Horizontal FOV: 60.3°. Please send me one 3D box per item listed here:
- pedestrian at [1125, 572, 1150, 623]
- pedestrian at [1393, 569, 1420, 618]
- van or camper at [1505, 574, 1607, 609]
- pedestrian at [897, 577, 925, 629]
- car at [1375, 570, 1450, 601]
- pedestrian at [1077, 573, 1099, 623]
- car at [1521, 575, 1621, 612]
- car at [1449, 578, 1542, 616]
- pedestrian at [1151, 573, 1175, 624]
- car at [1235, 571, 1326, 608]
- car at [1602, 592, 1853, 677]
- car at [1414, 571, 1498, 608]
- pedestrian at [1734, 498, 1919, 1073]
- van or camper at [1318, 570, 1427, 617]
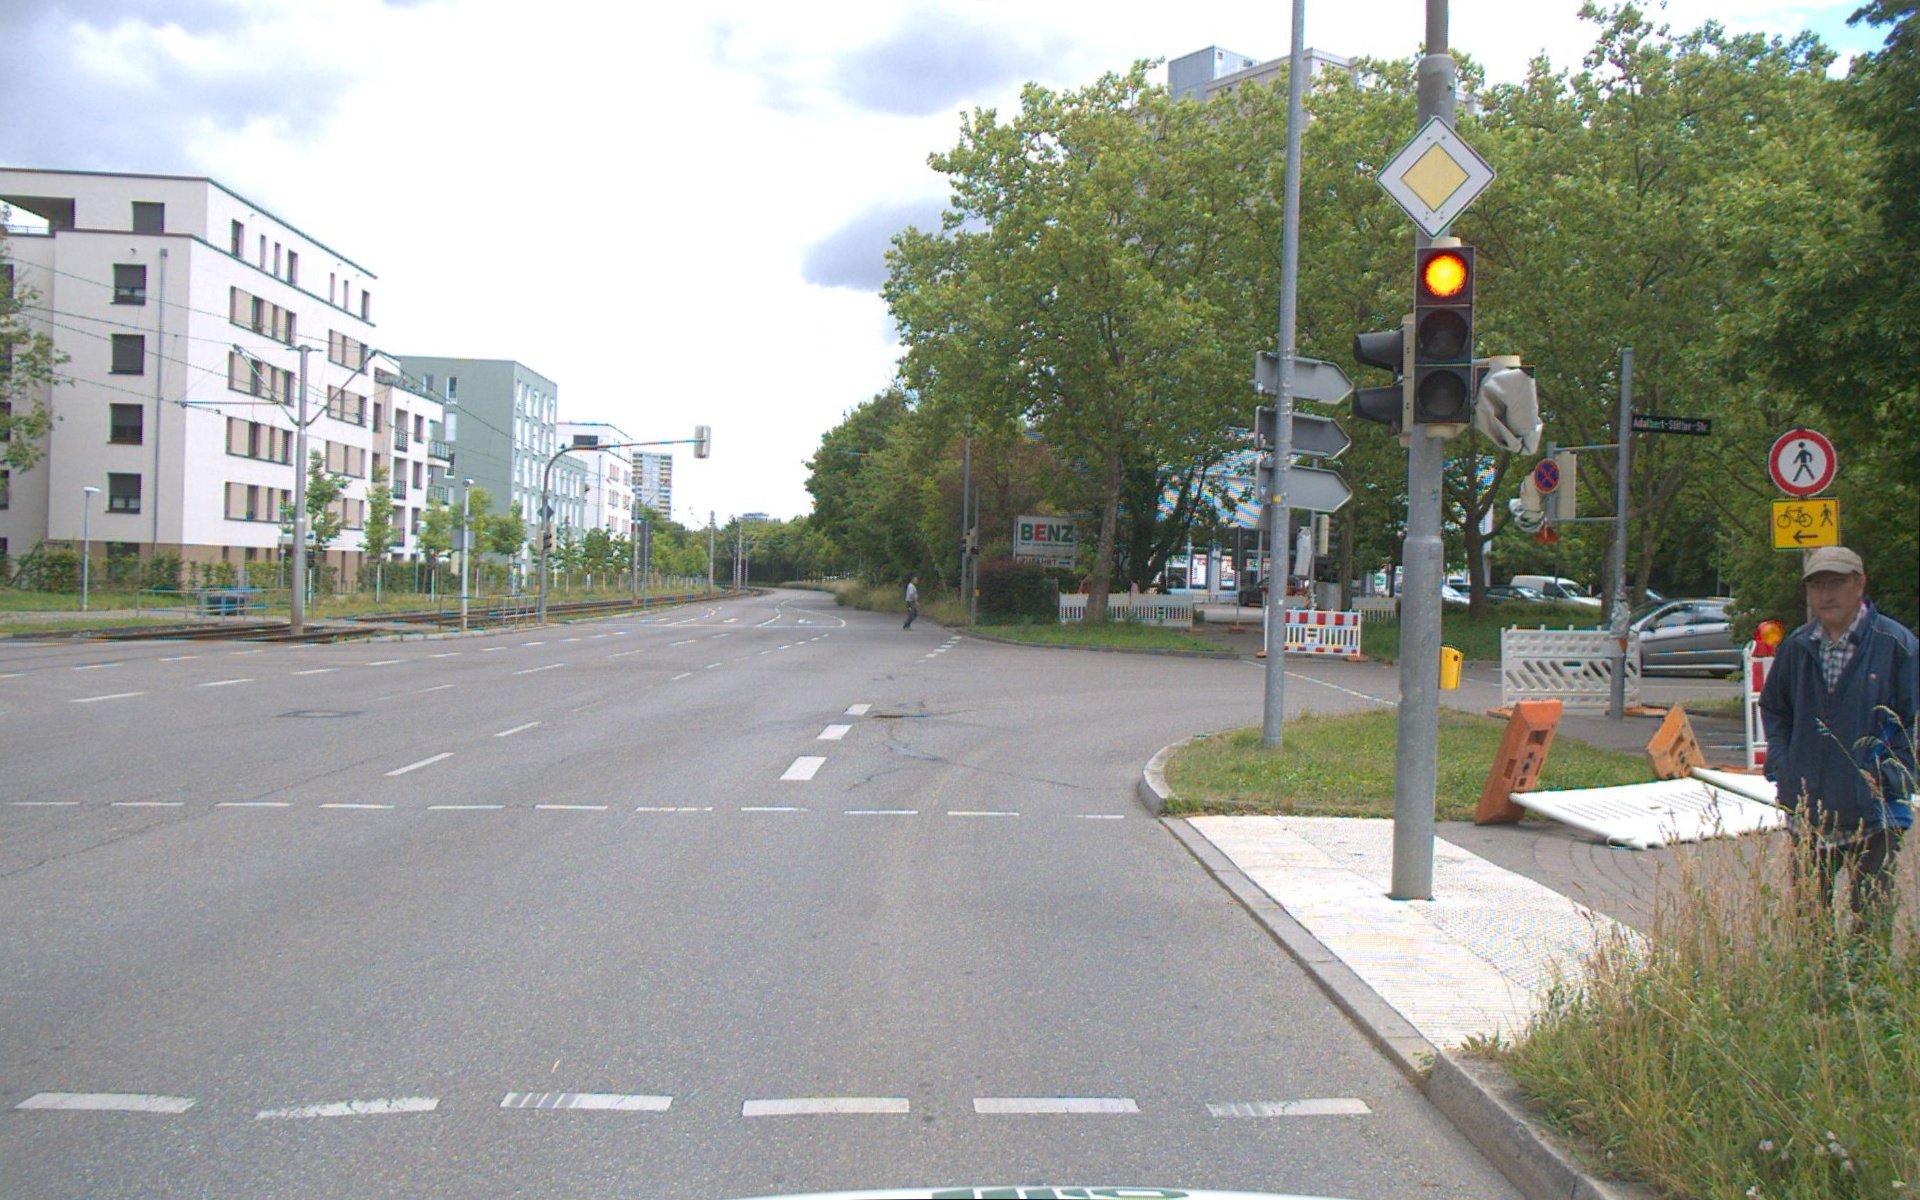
[{"bbox_3d":[5.329,-0.074,49.697,0.682,1.515,0.688,1,-1,10],"label":"pedestrian"},{"bbox_3d":[18.810,-0.278,69.667,0.789,2.037,0.852,1,-1,-8],"label":"pedestrian"},{"bbox_3d":[24.132,-0.340,67.051,1.499,1.380,3.732,1,0,-33],"label":"van or camper"},{"bbox_3d":[-1.536,0.104,52.135,0.831,1.614,0.796,1,-1,1],"label":"pedestrian"},{"bbox_3d":[21.468,-0.694,78.555,1.465,1.429,3.372,1,0,-31],"label":"car"},{"bbox_3d":[4.020,-0.063,51.909,0.639,1.565,0.773,1,-1,1],"label":"pedestrian"},{"bbox_3d":[25.540,-0.256,69.251,1.465,1.491,3.851,1,0,-31],"label":"car"},{"bbox_3d":[21.095,-0.125,65.254,1.464,1.429,3.375,1,0,-30],"label":"car"},{"bbox_3d":[6.065,-0.045,49.290,0.682,1.515,0.721,1,-1,7],"label":"pedestrian"},{"bbox_3d":[14.060,-0.451,72.730,1.708,1.526,4.232,1,0,-27],"label":"car"},{"bbox_3d":[15.647,0.690,33.864,4.307,1.614,1.772,1,0,0],"label":"car"},{"bbox_3d":[24.053,-0.507,80.252,1.650,1.663,3.783,1,1,-30],"label":"car"},{"bbox_3d":[3.056,0.568,5.589,0.712,1.770,0.954,1,0,29],"label":"pedestrian"},{"bbox_3d":[15.488,-0.261,62.234,1.819,1.713,3.964,0,1,-28],"label":"van or camper"}]
